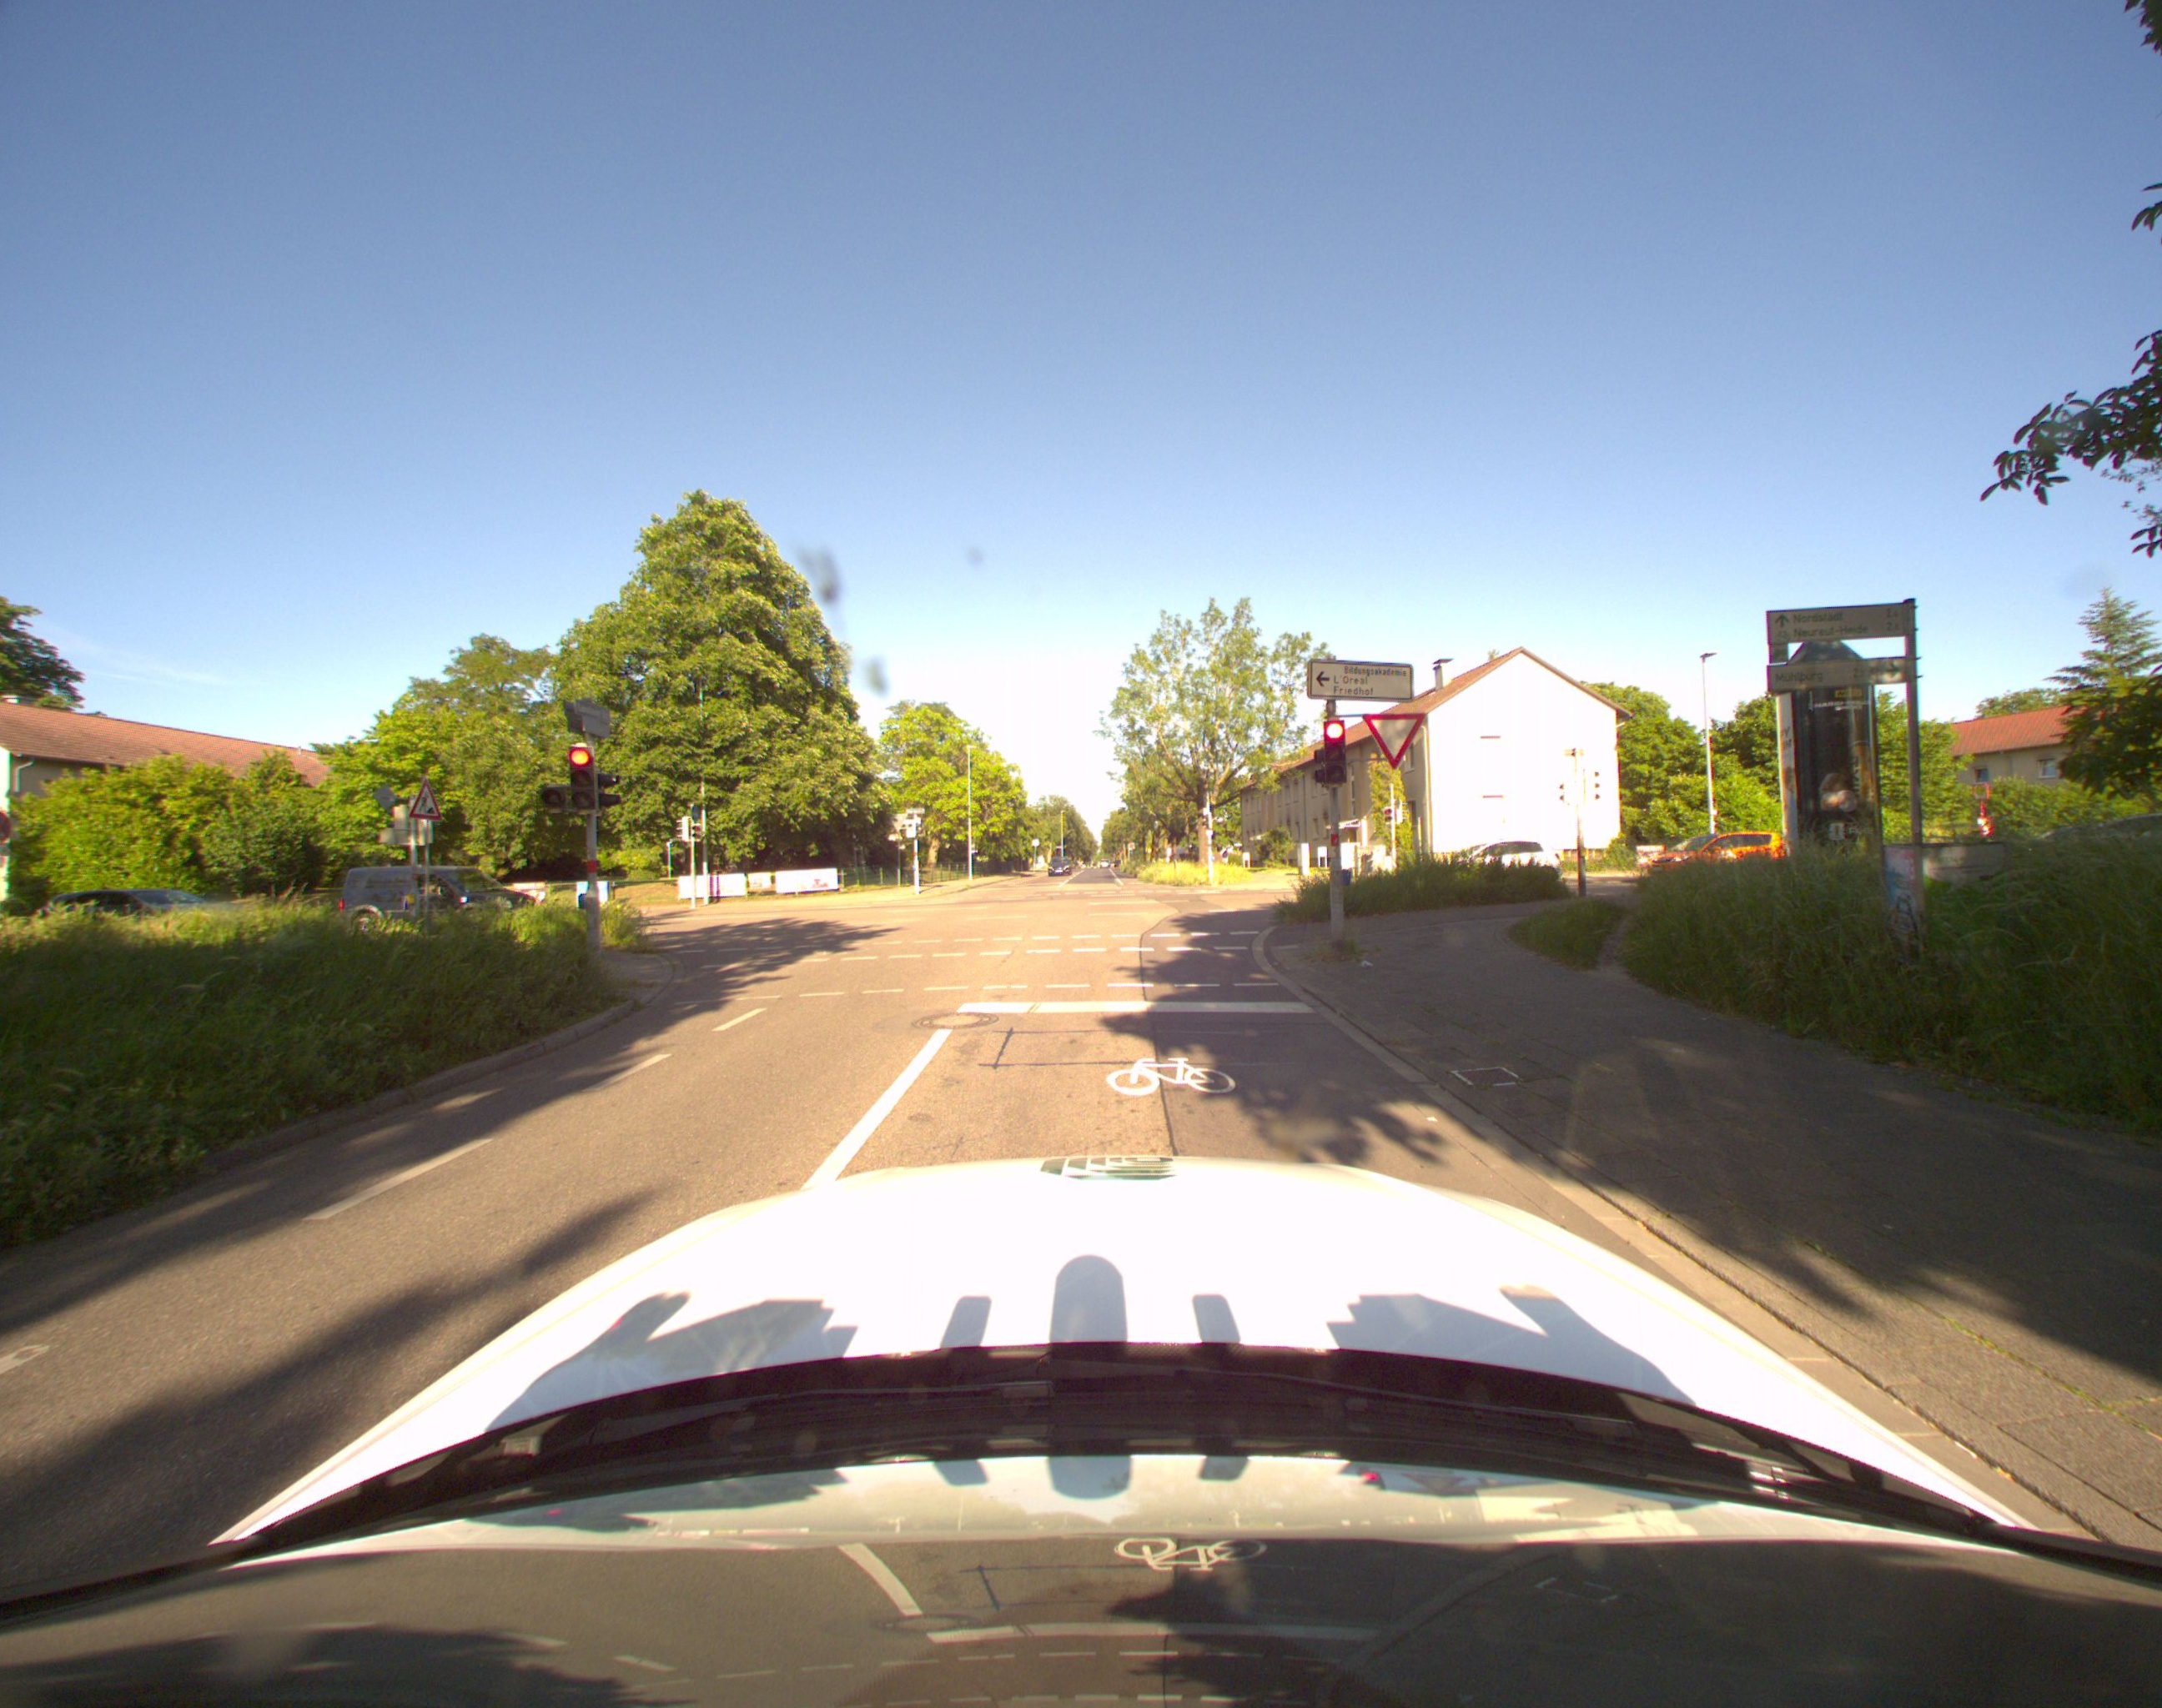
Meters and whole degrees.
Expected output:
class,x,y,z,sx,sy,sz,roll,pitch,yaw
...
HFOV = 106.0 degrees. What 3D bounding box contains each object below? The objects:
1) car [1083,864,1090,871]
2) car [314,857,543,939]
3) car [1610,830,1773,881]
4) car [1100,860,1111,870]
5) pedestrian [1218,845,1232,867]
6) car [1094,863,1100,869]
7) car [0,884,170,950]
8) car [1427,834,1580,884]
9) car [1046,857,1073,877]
class,x,y,z,sx,sy,sz,roll,pitch,yaw
car,1.566,3.701,224.575,1.751,1.624,3.271,-2,0,3
car,-16.963,1.098,21.358,4.334,1.887,1.858,-2,0,-3
car,19.691,0.053,26.373,3.975,1.582,1.757,0,0,-1
car,3.985,1.766,132.313,1.838,1.461,3.531,-2,0,1
pedestrian,10.158,0.143,57.358,0.838,1.493,0.924,1,0,1
car,4.572,3.424,234.910,1.751,1.624,3.271,-2,0,3
car,-27.193,1.671,21.384,4.270,1.489,1.913,-2,0,-1
car,13.685,0.164,26.548,4.095,1.563,1.757,0,0,-1
car,-1.599,0.929,61.100,1.704,1.385,3.473,-2,0,3
